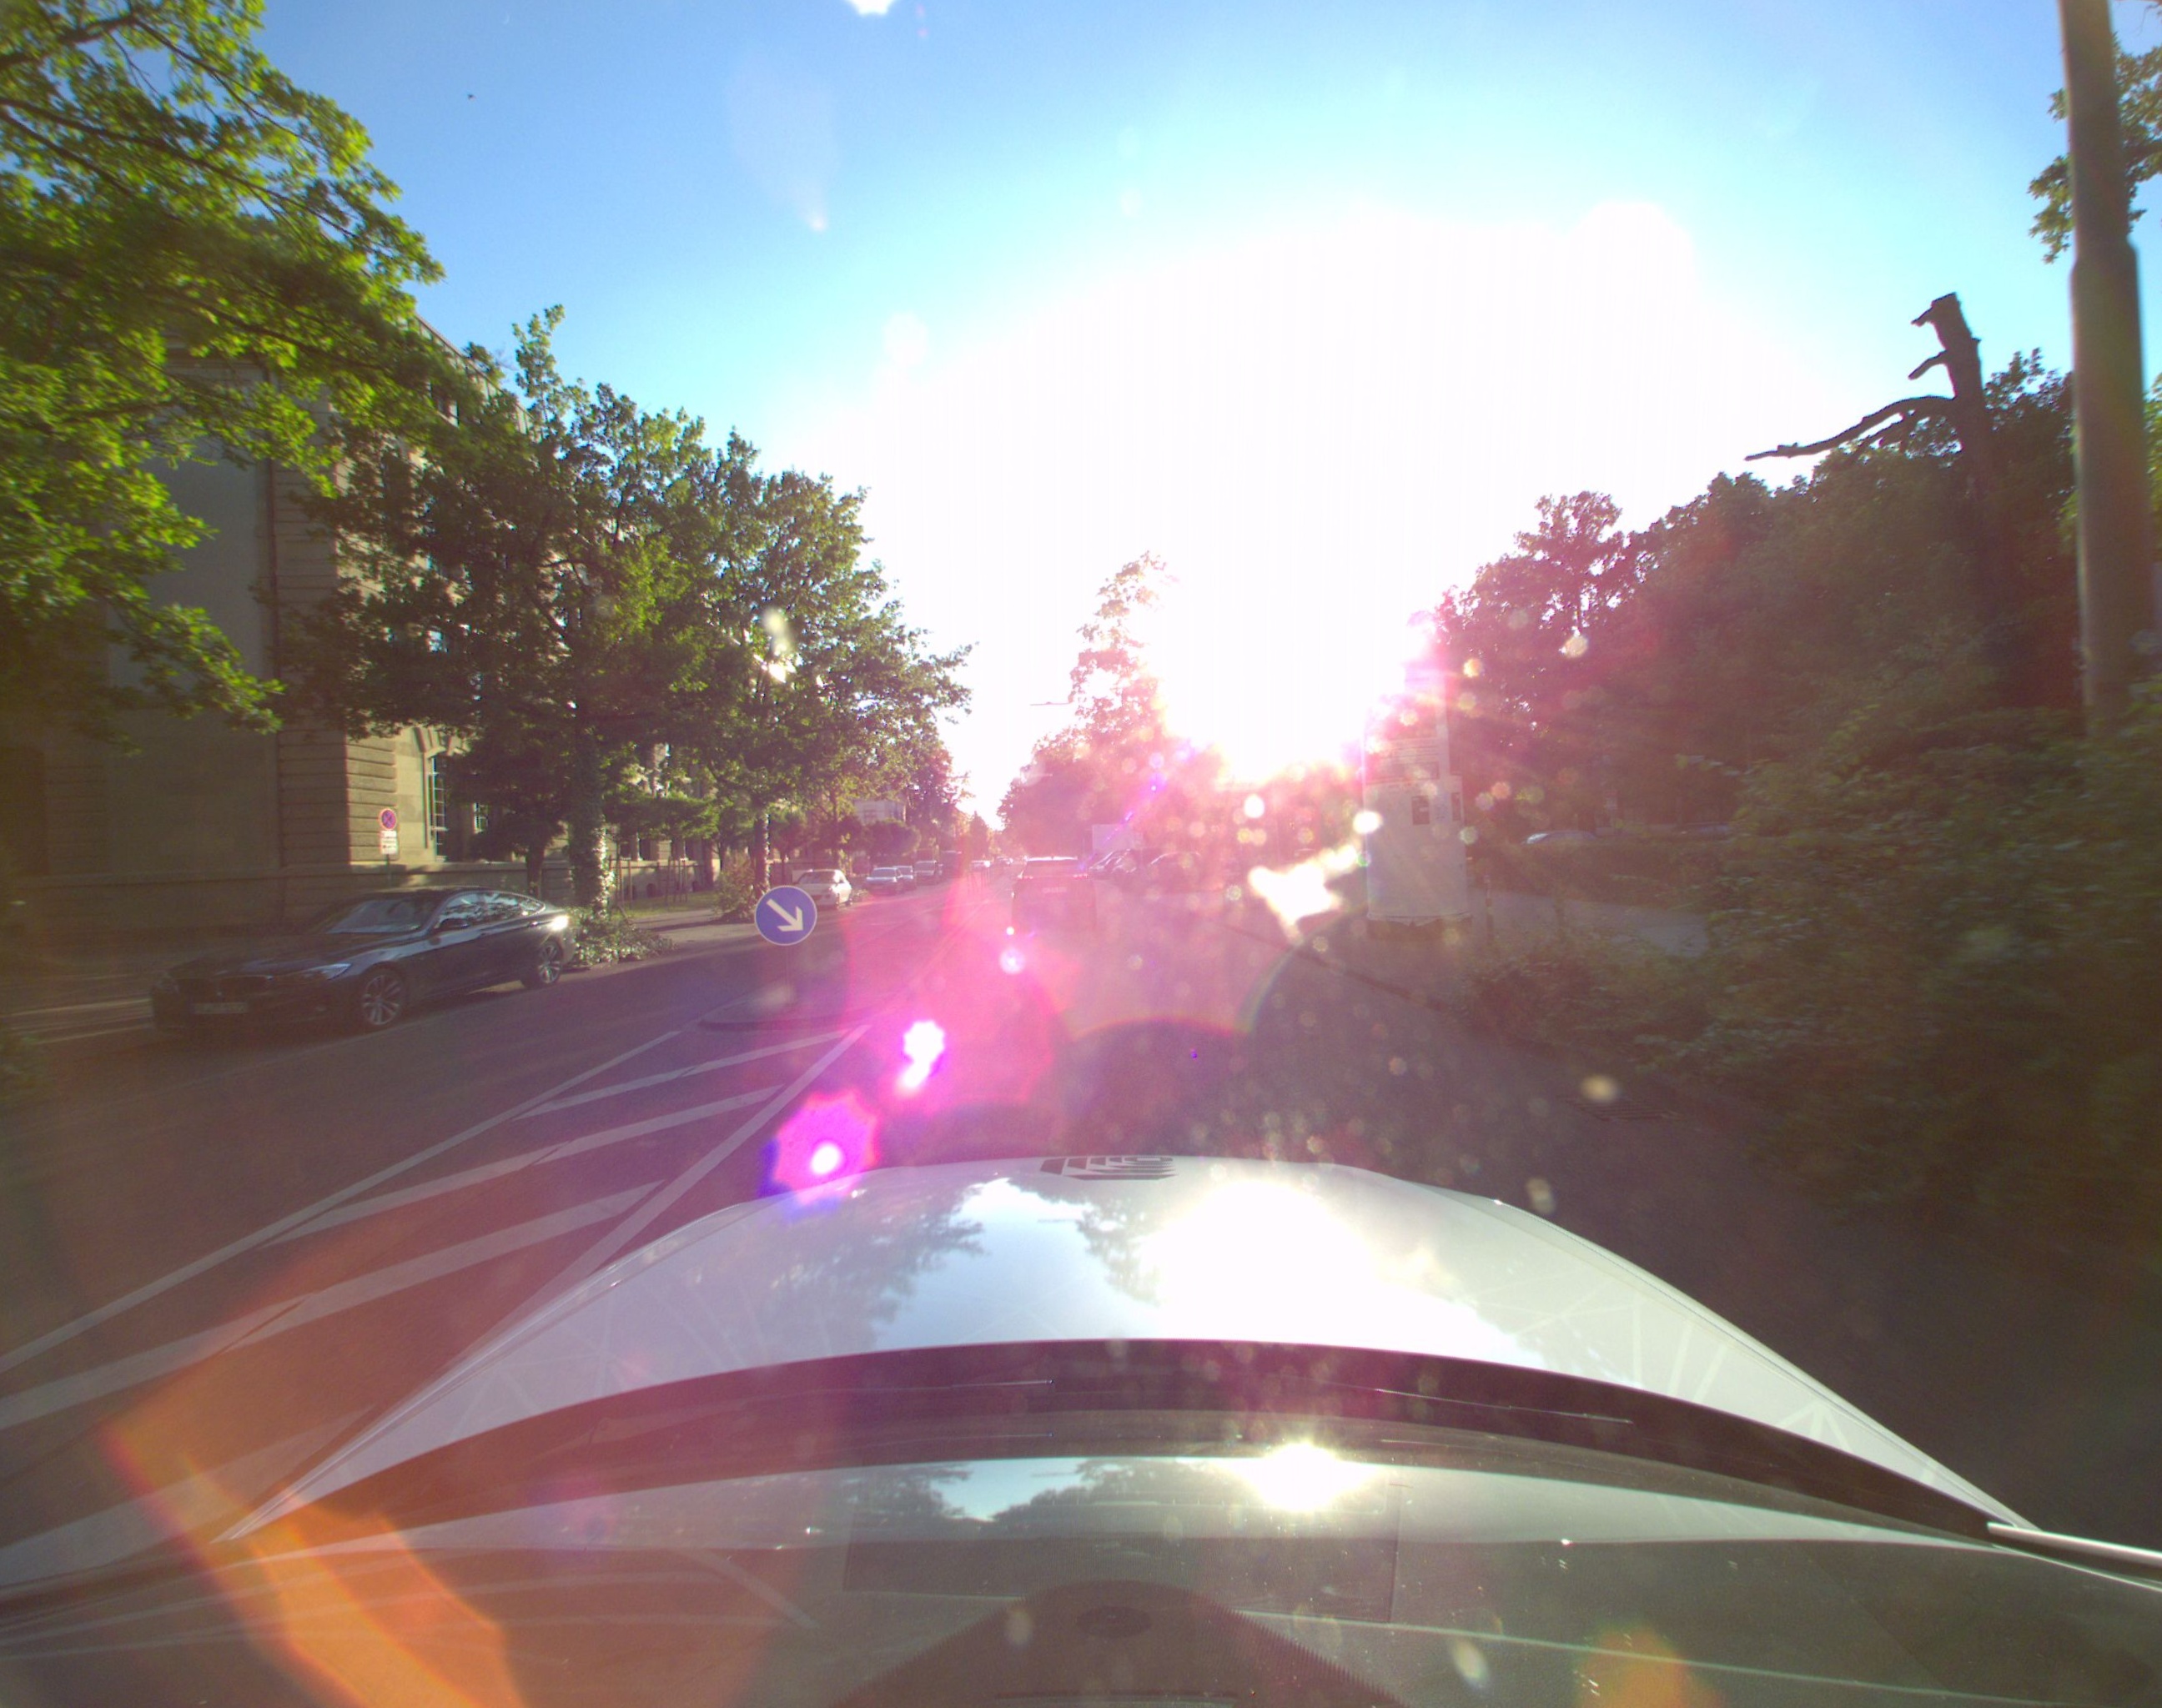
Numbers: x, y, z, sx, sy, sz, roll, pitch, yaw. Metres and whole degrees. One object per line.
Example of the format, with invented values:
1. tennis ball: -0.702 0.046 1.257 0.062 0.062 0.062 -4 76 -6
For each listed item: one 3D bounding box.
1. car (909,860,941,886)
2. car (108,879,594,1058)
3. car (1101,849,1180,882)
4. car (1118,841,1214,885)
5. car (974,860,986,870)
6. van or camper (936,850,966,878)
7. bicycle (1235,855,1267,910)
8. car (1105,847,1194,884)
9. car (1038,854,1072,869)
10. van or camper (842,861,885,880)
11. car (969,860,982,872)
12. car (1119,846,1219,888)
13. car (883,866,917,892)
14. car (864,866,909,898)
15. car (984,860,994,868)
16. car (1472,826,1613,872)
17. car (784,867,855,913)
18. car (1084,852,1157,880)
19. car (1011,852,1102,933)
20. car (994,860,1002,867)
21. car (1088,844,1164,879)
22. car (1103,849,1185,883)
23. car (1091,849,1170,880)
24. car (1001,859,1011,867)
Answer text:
1. car: -11.620 1.404 60.911 1.774 1.866 4.326 0 0 -4
2. car: -8.342 1.149 10.135 1.798 1.510 4.857 -2 0 -3
3. car: 3.522 0.679 48.800 4.356 1.537 1.917 -5 0 -5
4. car: 4.165 0.427 40.454 4.356 1.780 1.917 -5 0 -5
5. car: -15.615 1.742 126.125 1.610 1.466 4.030 -3 0 -4
6. van or camper: -12.773 0.992 80.384 2.226 2.544 7.068 -1 -1 -4
7. bicycle: 4.148 0.663 19.800 0.488 1.148 2.295 -6 0 16
8. car: 3.609 0.605 43.162 4.356 1.554 1.873 -5 0 -5
9. car: -3.147 0.930 98.980 3.980 1.554 1.723 -3 1 -5
10. van or camper: -27.090 2.066 101.580 4.757 1.985 1.999 -3 4 -3
11. car: -15.033 1.723 115.878 1.612 1.515 3.704 -4 0 -6
12. car: 4.090 0.601 38.193 4.356 1.554 1.724 -5 0 -5
13. car: -11.176 1.518 50.599 1.718 1.496 4.364 -2 0 -9
14. car: -10.331 1.467 43.494 1.615 1.496 4.370 -2 0 -4
15. car: -17.811 1.946 158.157 1.750 1.413 3.757 -5 0 -6
16. car: 16.715 -0.174 29.627 4.132 1.442 1.833 -3 0 -5
17. car: -9.748 1.298 30.659 1.615 1.496 3.918 -2 0 -4
18. car: 2.803 0.835 58.548 4.919 1.554 1.913 -5 0 -5
19. car: -0.620 0.769 18.308 1.768 1.568 4.103 -1 0 -4
20. car: -20.633 2.369 203.338 1.896 1.574 3.994 -2 0 -4
21. car: 3.064 0.509 56.021 4.845 1.915 1.913 -5 0 -5
22. car: 3.578 0.673 46.531 4.356 1.537 1.917 -5 0 -5
23. car: 3.236 0.675 53.710 4.919 1.554 1.913 -5 0 -5
24. car: -14.772 1.802 160.779 1.738 1.458 4.616 -3 0 -4
